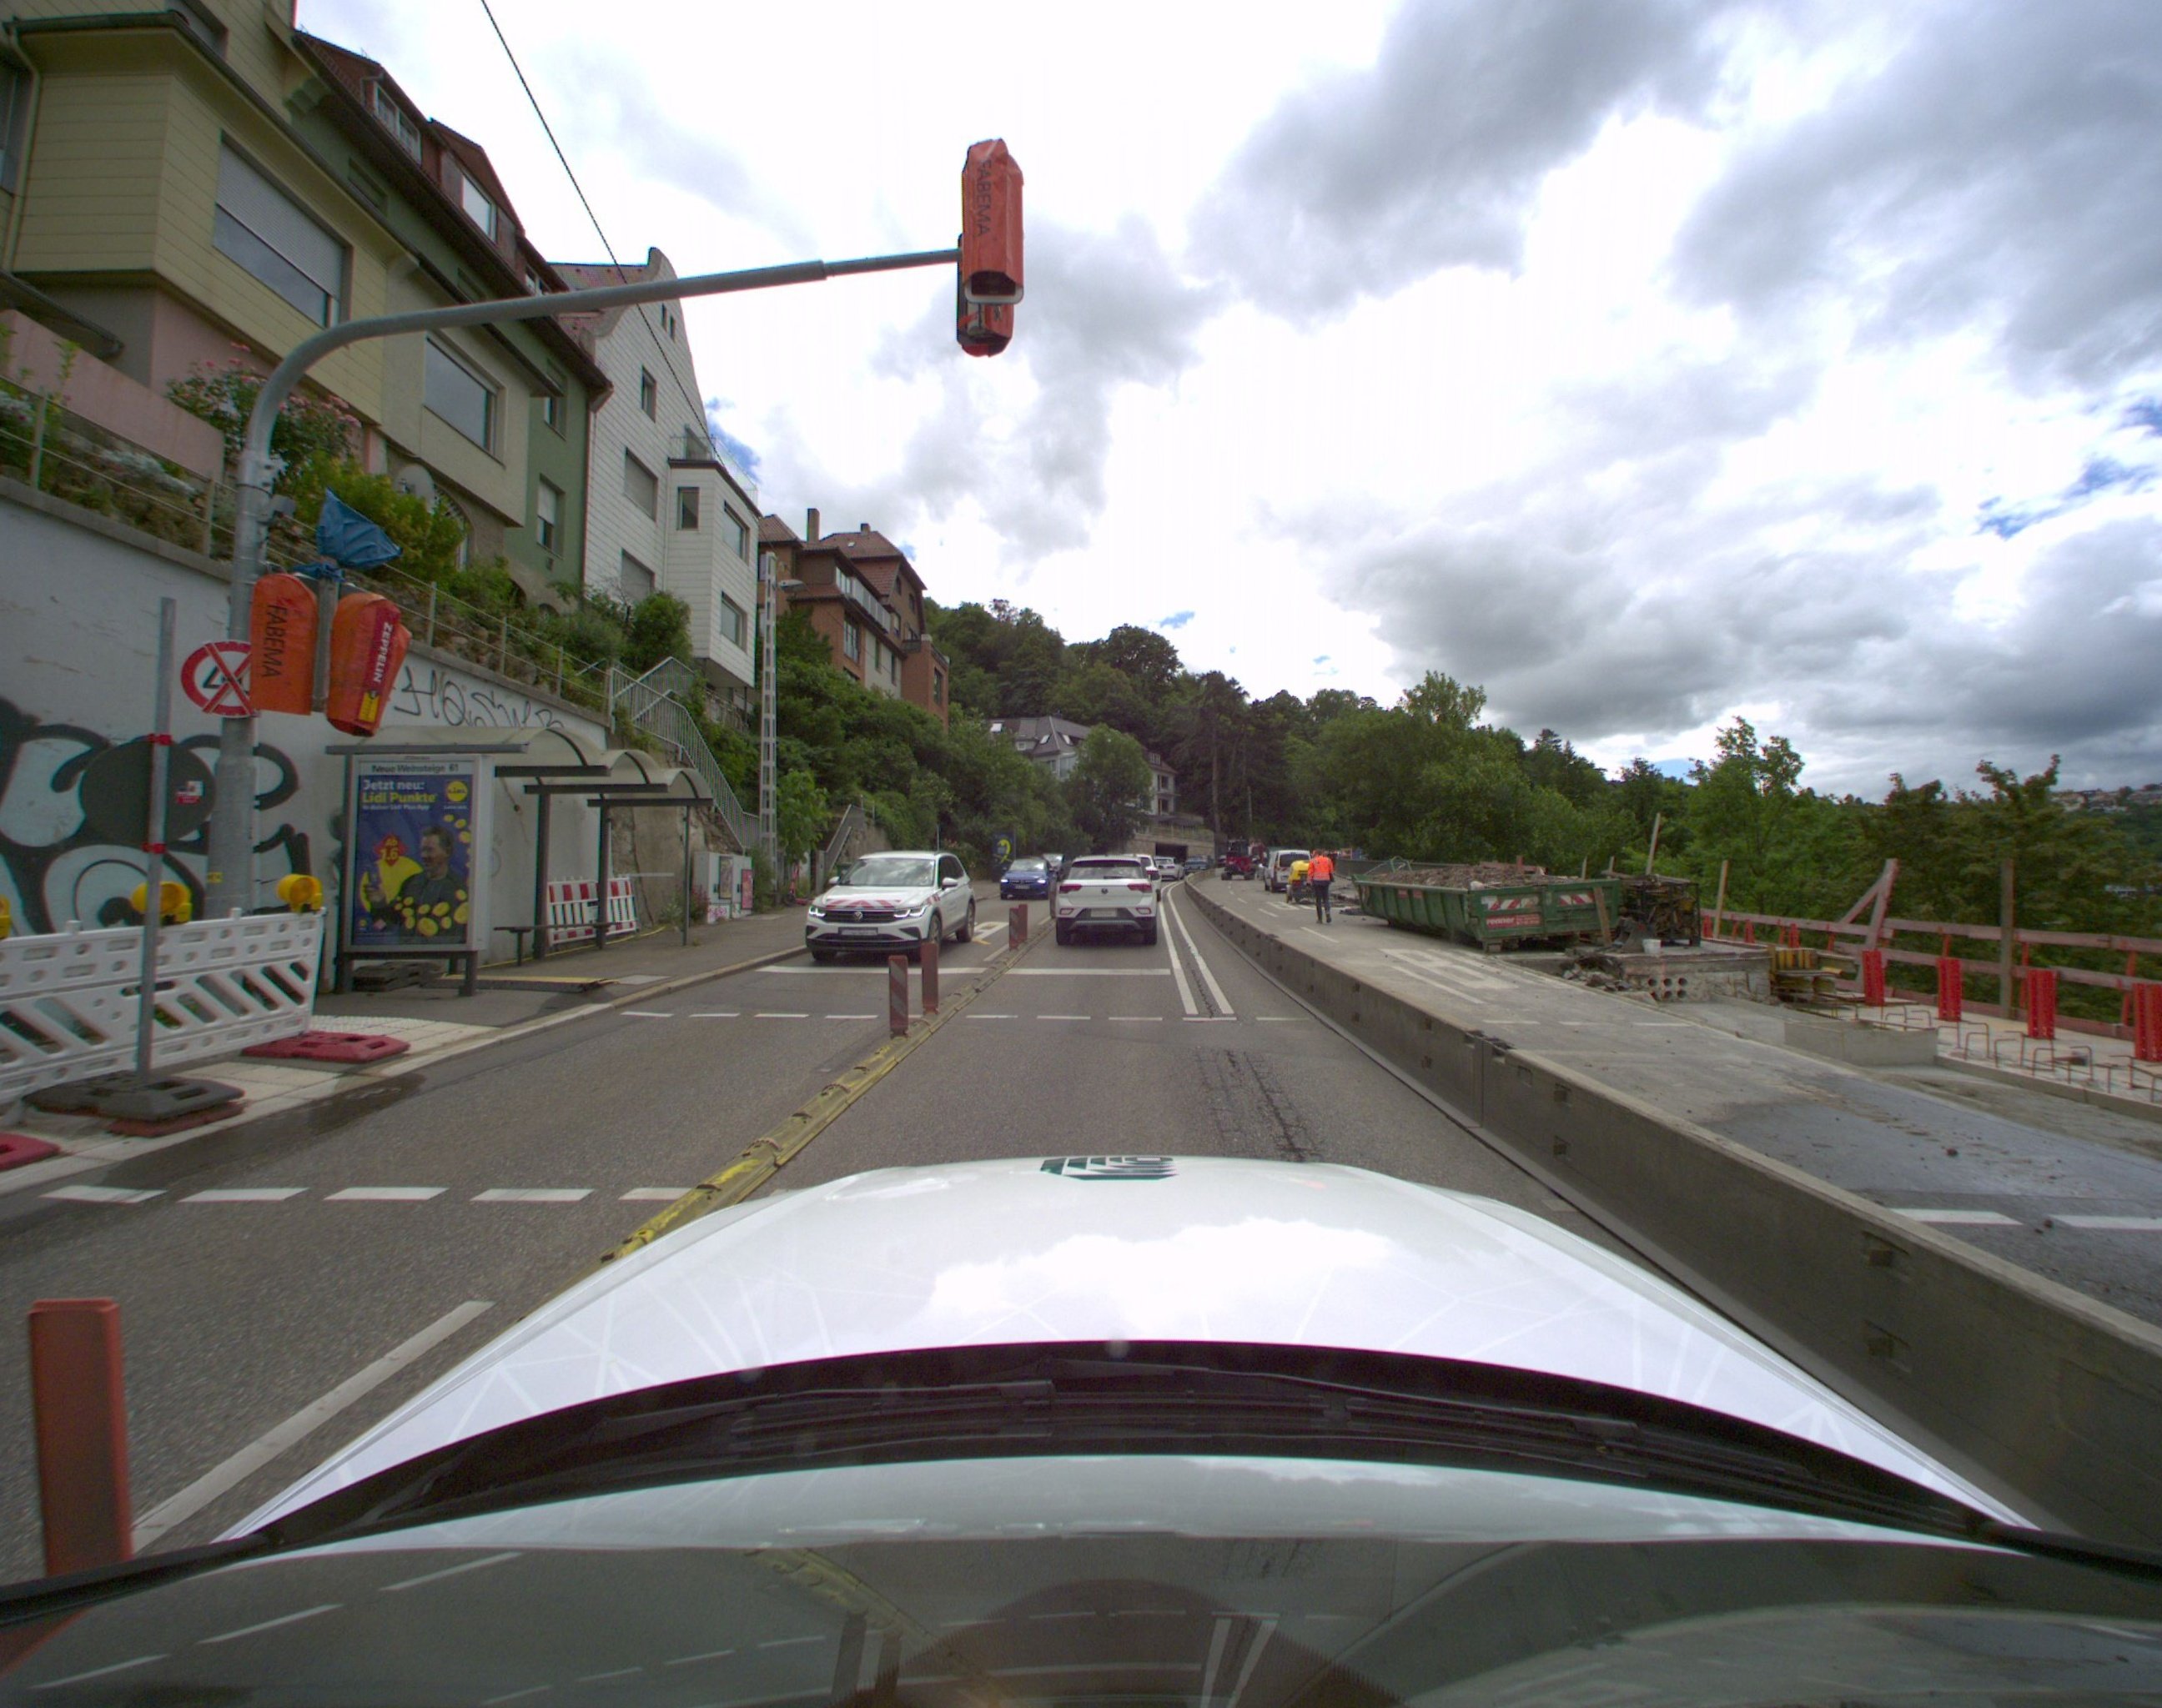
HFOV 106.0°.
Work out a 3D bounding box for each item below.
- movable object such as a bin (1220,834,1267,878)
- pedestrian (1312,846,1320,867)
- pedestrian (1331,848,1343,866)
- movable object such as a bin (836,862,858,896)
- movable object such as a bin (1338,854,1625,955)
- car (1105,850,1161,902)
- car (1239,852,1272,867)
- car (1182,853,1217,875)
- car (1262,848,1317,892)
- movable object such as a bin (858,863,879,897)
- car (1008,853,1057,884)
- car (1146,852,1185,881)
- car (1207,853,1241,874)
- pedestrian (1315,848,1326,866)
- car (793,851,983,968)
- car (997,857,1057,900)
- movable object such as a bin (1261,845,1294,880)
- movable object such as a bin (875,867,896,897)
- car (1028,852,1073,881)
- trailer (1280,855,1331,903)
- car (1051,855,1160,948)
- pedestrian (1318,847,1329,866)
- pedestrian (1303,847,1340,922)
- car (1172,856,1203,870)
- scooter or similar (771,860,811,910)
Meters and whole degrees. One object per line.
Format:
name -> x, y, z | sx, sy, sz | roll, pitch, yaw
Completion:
movable object such as a bin -> 10.420, 0.104, 51.985 | 2.193, 2.663, 4.970 | 0, 0, 20
pedestrian -> 22.318, 0.238, 77.268 | 0.685, 1.906, 0.828 | -1, 0, 13
pedestrian -> 23.830, 0.302, 75.928 | 0.775, 1.688, 0.790 | -1, 0, 41
movable object such as a bin -> -7.445, 0.793, 25.944 | 0.466, 1.053, 0.625 | 1, 0, 3
movable object such as a bin -> 7.307, 0.789, 16.132 | 2.365, 1.561, 7.101 | 0, 0, 1
car -> 1.916, 0.742, 28.970 | 1.801, 1.663, 4.006 | -2, 0, 6
car -> 18.628, 0.543, 86.789 | 1.750, 1.568, 4.256 | 0, 0, 39
car -> 9.062, 0.751, 62.021 | 1.779, 1.510, 4.020 | -2, 0, 20
car -> 8.923, 0.640, 35.169 | 1.822, 1.779, 4.277 | -1, 0, 7
movable object such as a bin -> -6.754, 0.816, 25.907 | 0.466, 1.053, 0.625 | 1, 0, 3
car -> -2.553, 0.743, 43.649 | 1.784, 1.510, 4.010 | 2, 0, 9
car -> 5.269, 0.762, 50.371 | 1.797, 1.663, 4.015 | -2, 0, 14
car -> 12.657, 0.803, 71.904 | 1.793, 1.663, 4.024 | -2, 0, 27
pedestrian -> 22.991, 0.317, 78.201 | 0.868, 1.731, 0.883 | -1, 0, 25
car -> -2.933, 0.762, 13.395 | 1.834, 1.599, 4.267 | -1, 0, 3
car -> -1.910, 0.839, 29.734 | 1.719, 1.420, 3.823 | -1, 0, 3
movable object such as a bin -> 11.382, 0.463, 47.378 | 1.690, 1.943, 4.177 | 0, 0, 11
movable object such as a bin -> -6.226, 0.880, 25.905 | 0.466, 0.934, 0.625 | 1, 0, 3
car -> -1.769, 0.699, 48.890 | 1.675, 1.606, 4.200 | 2, 0, 12
trailer -> 7.449, 0.793, 27.261 | 1.281, 1.475, 3.643 | 0, 0, 9
car -> 0.548, 0.782, 15.467 | 1.802, 1.531, 4.004 | 0, 0, 4
pedestrian -> 23.495, 0.243, 78.985 | 0.868, 1.822, 0.883 | -1, 0, 25
pedestrian -> 5.551, 0.685, 18.819 | 0.642, 1.701, 0.851 | 1, 0, 3
car -> 11.437, 0.996, 87.424 | 1.764, 1.453, 3.726 | 0, -2, 36
scooter or similar -> -7.351, 0.757, 20.680 | 0.458, 1.205, 1.435 | 1, 0, 1
